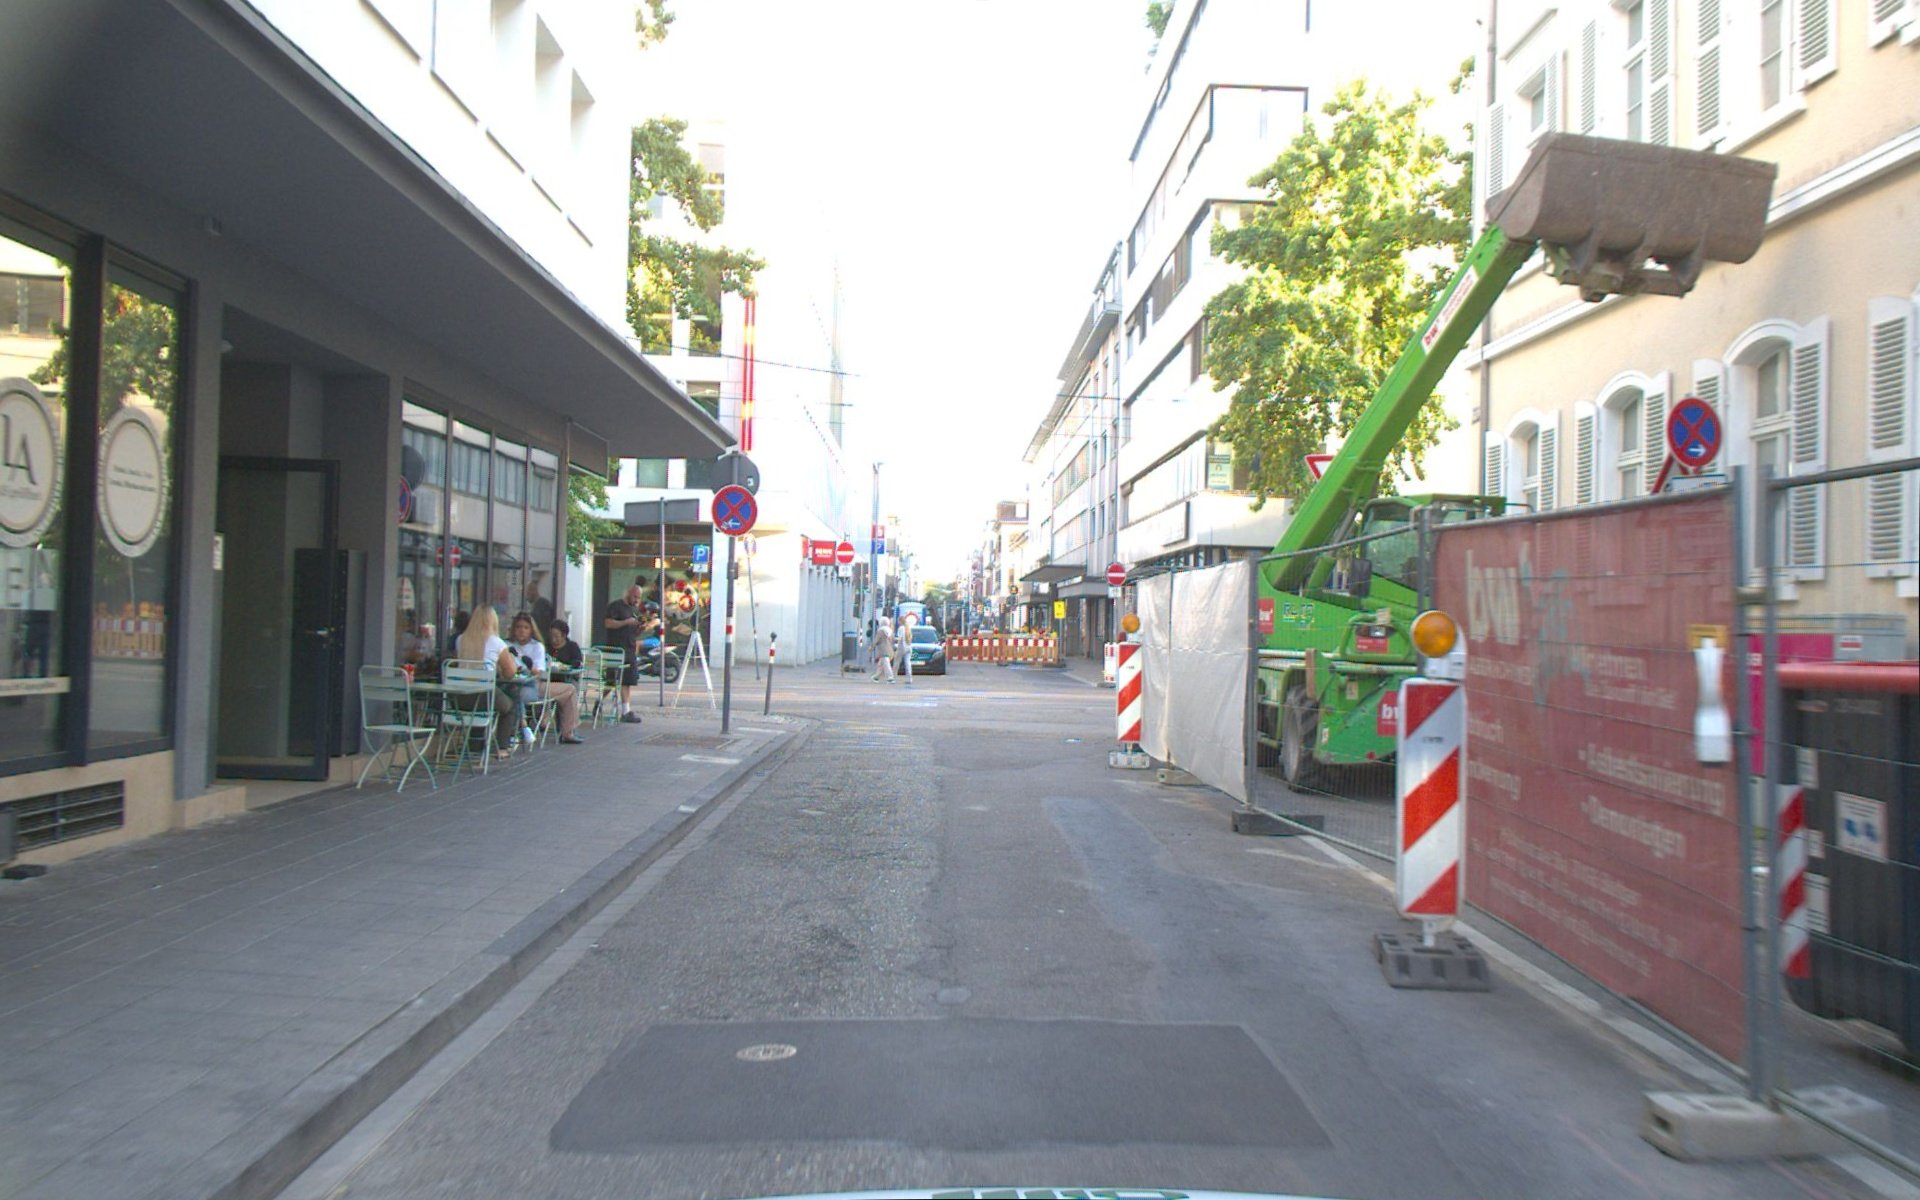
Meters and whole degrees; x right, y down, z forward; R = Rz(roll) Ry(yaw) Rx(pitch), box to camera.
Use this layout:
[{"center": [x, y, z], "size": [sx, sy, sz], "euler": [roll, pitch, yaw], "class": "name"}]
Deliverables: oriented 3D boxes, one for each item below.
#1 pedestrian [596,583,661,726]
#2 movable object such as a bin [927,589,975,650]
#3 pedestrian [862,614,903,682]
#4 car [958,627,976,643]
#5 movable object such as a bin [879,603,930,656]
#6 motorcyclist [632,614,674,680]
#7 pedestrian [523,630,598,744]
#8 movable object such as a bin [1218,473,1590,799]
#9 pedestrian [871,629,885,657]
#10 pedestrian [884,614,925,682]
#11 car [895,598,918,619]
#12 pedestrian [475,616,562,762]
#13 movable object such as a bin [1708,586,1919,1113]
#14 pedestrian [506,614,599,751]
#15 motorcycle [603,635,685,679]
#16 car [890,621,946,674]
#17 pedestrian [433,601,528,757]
[{"center": [-4.051, 0.664, 20.221], "size": [0.494, 1.697, 0.688], "euler": [2, -1, 9], "class": "pedestrian"}, {"center": [-0.461, 0.901, 76.050], "size": [2.113, 2.710, 4.571], "euler": [1, -1, -1], "class": "movable object such as a bin"}, {"center": [-1.902, 1.177, 40.704], "size": [0.607, 1.656, 0.859], "euler": [1, -1, -44], "class": "pedestrian"}, {"center": [0.811, 3.974, 190.015], "size": [1.953, 1.808, 3.999], "euler": [0, -1, -1], "class": "car"}, {"center": [-2.184, 1.158, 66.160], "size": [1.953, 2.049, 3.999], "euler": [0, -1, -1], "class": "movable object such as a bin"}, {"center": [-6.672, 1.019, 35.947], "size": [0.879, 1.413, 0.670], "euler": [1, -1, -11], "class": "motorcyclist"}, {"center": [-4.171, 0.899, 17.290], "size": [0.561, 1.133, 0.713], "euler": [3, -1, -1], "class": "pedestrian"}, {"center": [4.289, 0.342, 16.900], "size": [2.552, 2.889, 4.449], "euler": [0, -1, -1], "class": "movable object such as a bin"}, {"center": [-4.472, 2.348, 90.092], "size": [0.701, 1.490, 0.525], "euler": [0, -1, 2], "class": "pedestrian"}, {"center": [-1.392, 1.182, 41.119], "size": [0.607, 1.656, 0.859], "euler": [1, -1, -44], "class": "pedestrian"}, {"center": [-4.657, 0.740, 145.567], "size": [1.953, 1.808, 3.999], "euler": [0, -1, -1], "class": "car"}, {"center": [-4.096, 0.815, 15.369], "size": [0.561, 1.298, 0.713], "euler": [3, -1, -1], "class": "pedestrian"}, {"center": [4.471, 0.792, 2.915], "size": [2.681, 1.667, 7.549], "euler": [1, -1, -2], "class": "movable object such as a bin"}, {"center": [-4.031, 0.805, 16.392], "size": [0.688, 1.298, 0.713], "euler": [3, -1, -1], "class": "pedestrian"}, {"center": [-6.857, 1.240, 35.898], "size": [1.722, 0.936, 0.640], "euler": [1, -1, -11], "class": "motorcycle"}, {"center": [-1.311, 1.433, 50.668], "size": [1.597, 1.578, 3.139], "euler": [0, -1, -4], "class": "car"}, {"center": [-4.182, 0.676, 14.459], "size": [0.561, 1.298, 0.713], "euler": [3, -1, -1], "class": "pedestrian"}]
